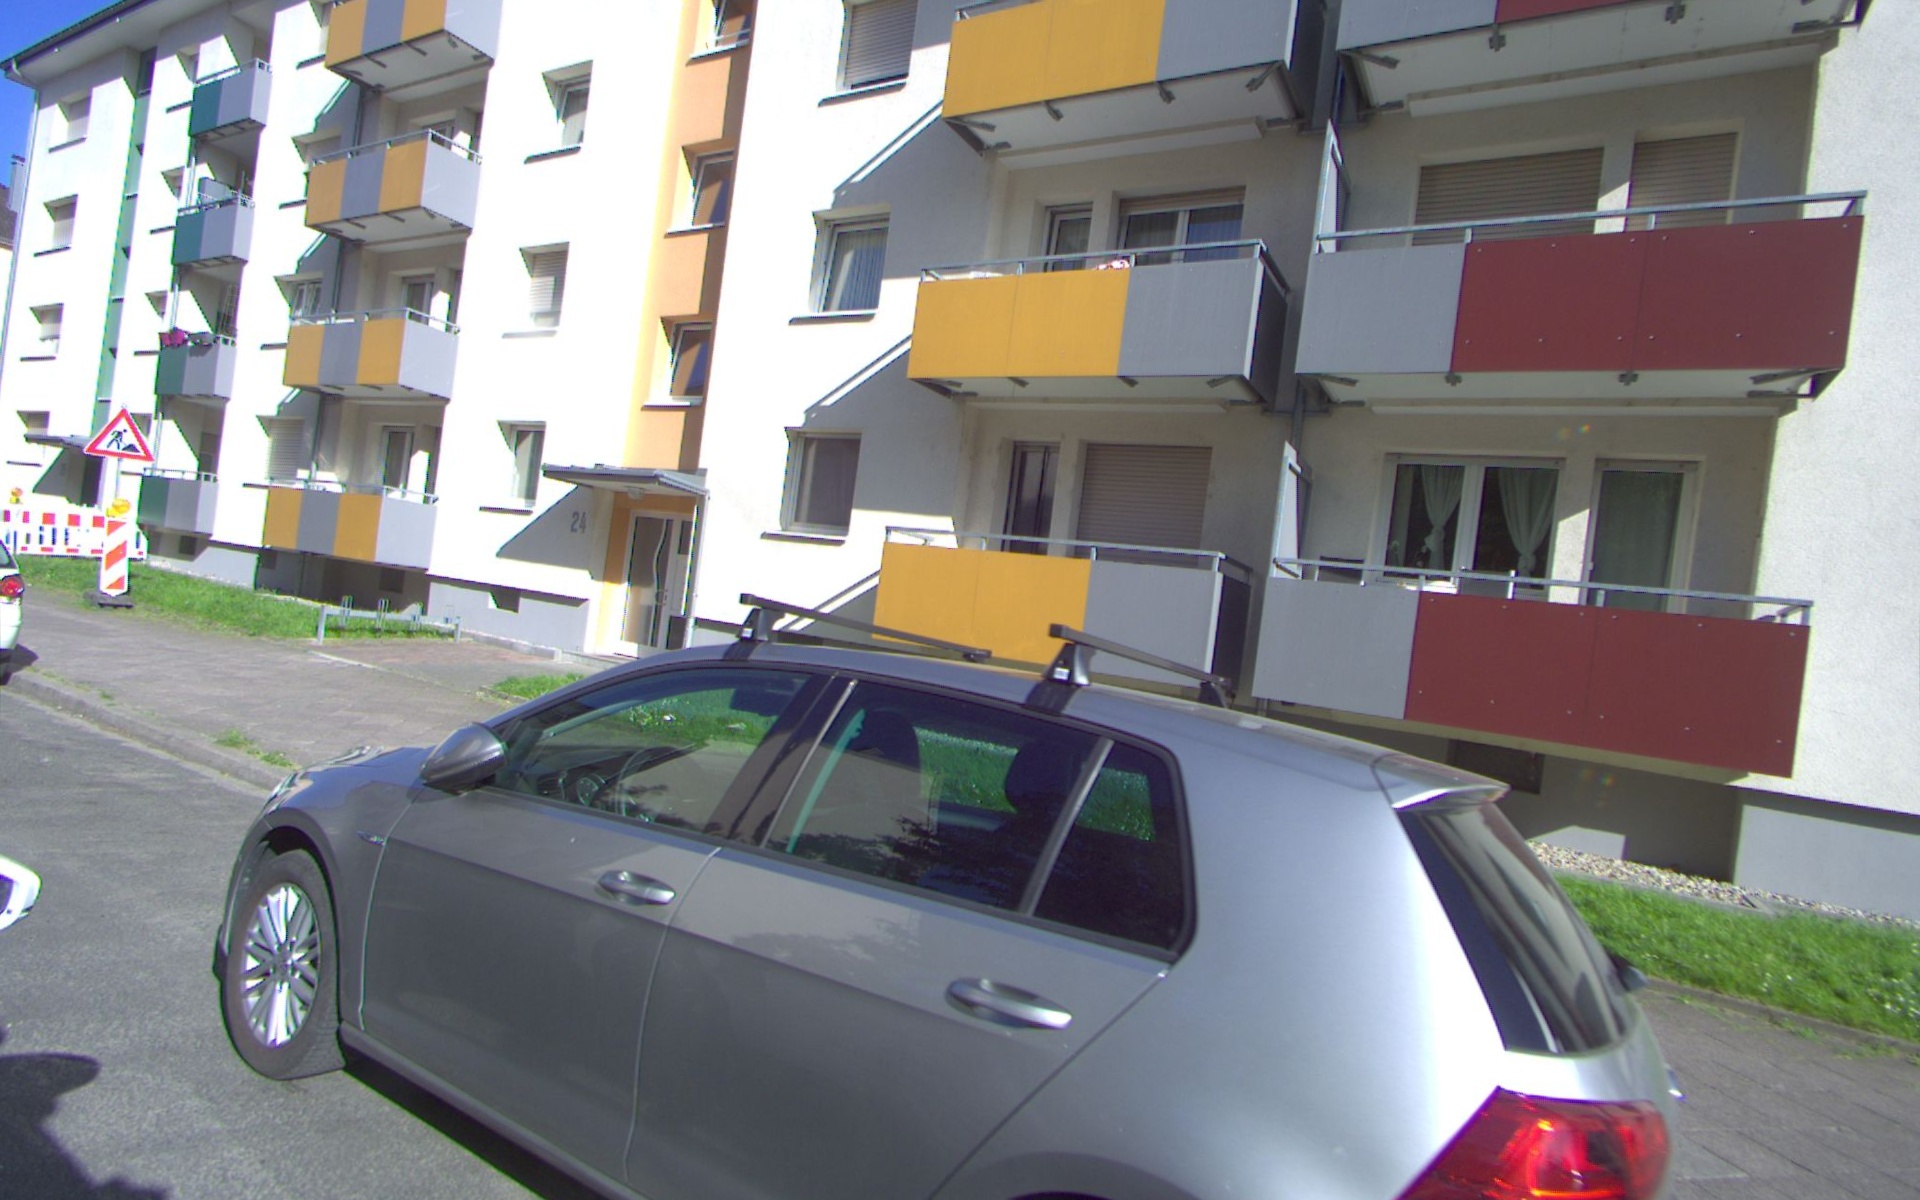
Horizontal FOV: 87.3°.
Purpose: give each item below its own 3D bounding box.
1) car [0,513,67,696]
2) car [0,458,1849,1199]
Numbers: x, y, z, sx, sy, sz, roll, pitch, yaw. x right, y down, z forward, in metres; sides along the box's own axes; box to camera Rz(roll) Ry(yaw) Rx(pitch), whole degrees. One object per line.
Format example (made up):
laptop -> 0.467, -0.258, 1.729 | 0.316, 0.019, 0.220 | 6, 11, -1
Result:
car -> -9.817, -0.258, 8.745 | 3.753, 1.477, 1.693 | 7, -5, 28
car -> -0.664, 0.696, 3.008 | 4.524, 1.640, 1.904 | 7, -2, 30
